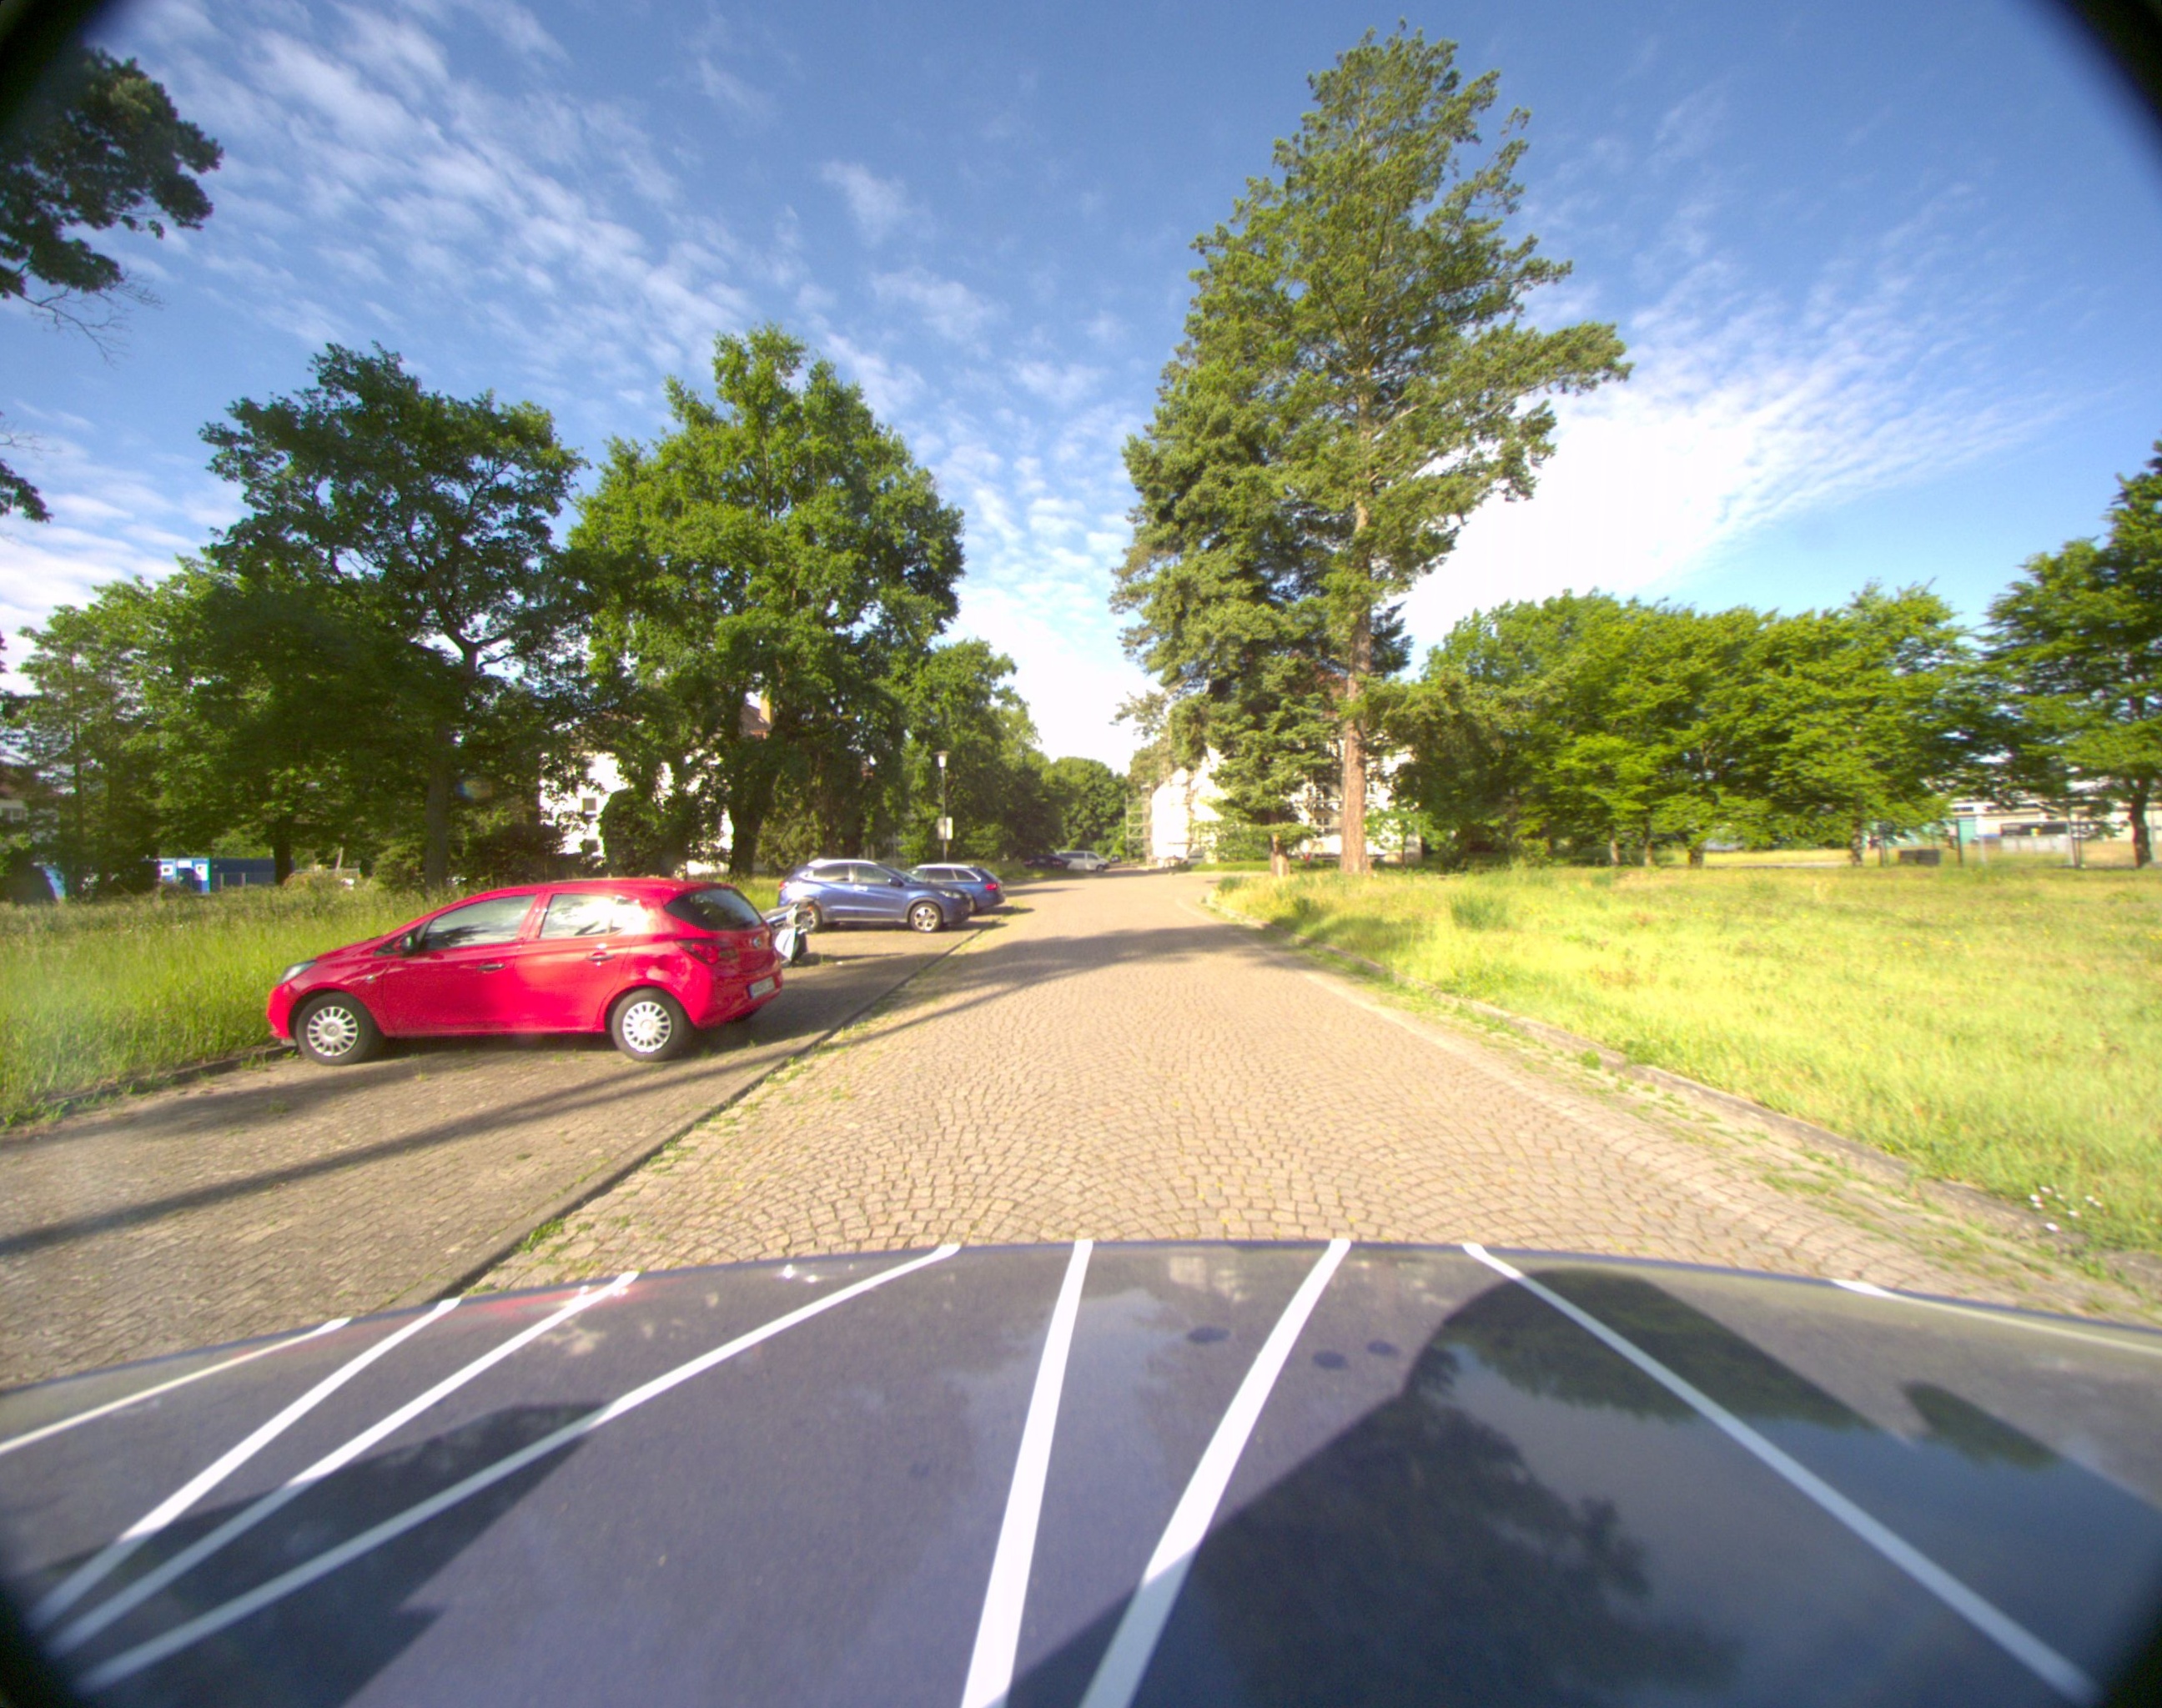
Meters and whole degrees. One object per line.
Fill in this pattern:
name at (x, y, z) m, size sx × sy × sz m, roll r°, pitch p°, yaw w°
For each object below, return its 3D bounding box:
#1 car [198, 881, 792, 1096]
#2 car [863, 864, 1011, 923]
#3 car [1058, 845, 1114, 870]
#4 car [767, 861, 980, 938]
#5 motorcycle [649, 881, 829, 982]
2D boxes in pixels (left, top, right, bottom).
car at (-4.879, 1.085, 6.718) m, size 3.997 × 1.487 × 1.540 m, roll -2°, pitch 1°, yaw 0°
car at (-4.024, 1.090, 21.723) m, size 3.809 × 1.458 × 1.747 m, roll -2°, pitch 1°, yaw 2°
car at (0.453, 0.345, 70.463) m, size 4.993 × 2.123 × 2.164 m, roll -2°, pitch 1°, yaw -1°
car at (-4.525, 0.975, 17.002) m, size 4.273 × 1.589 × 1.651 m, roll 0°, pitch 1°, yaw 0°
motorcycle at (-5.034, 1.127, 11.297) m, size 2.235 × 1.345 × 0.879 m, roll -2°, pitch 1°, yaw 3°
